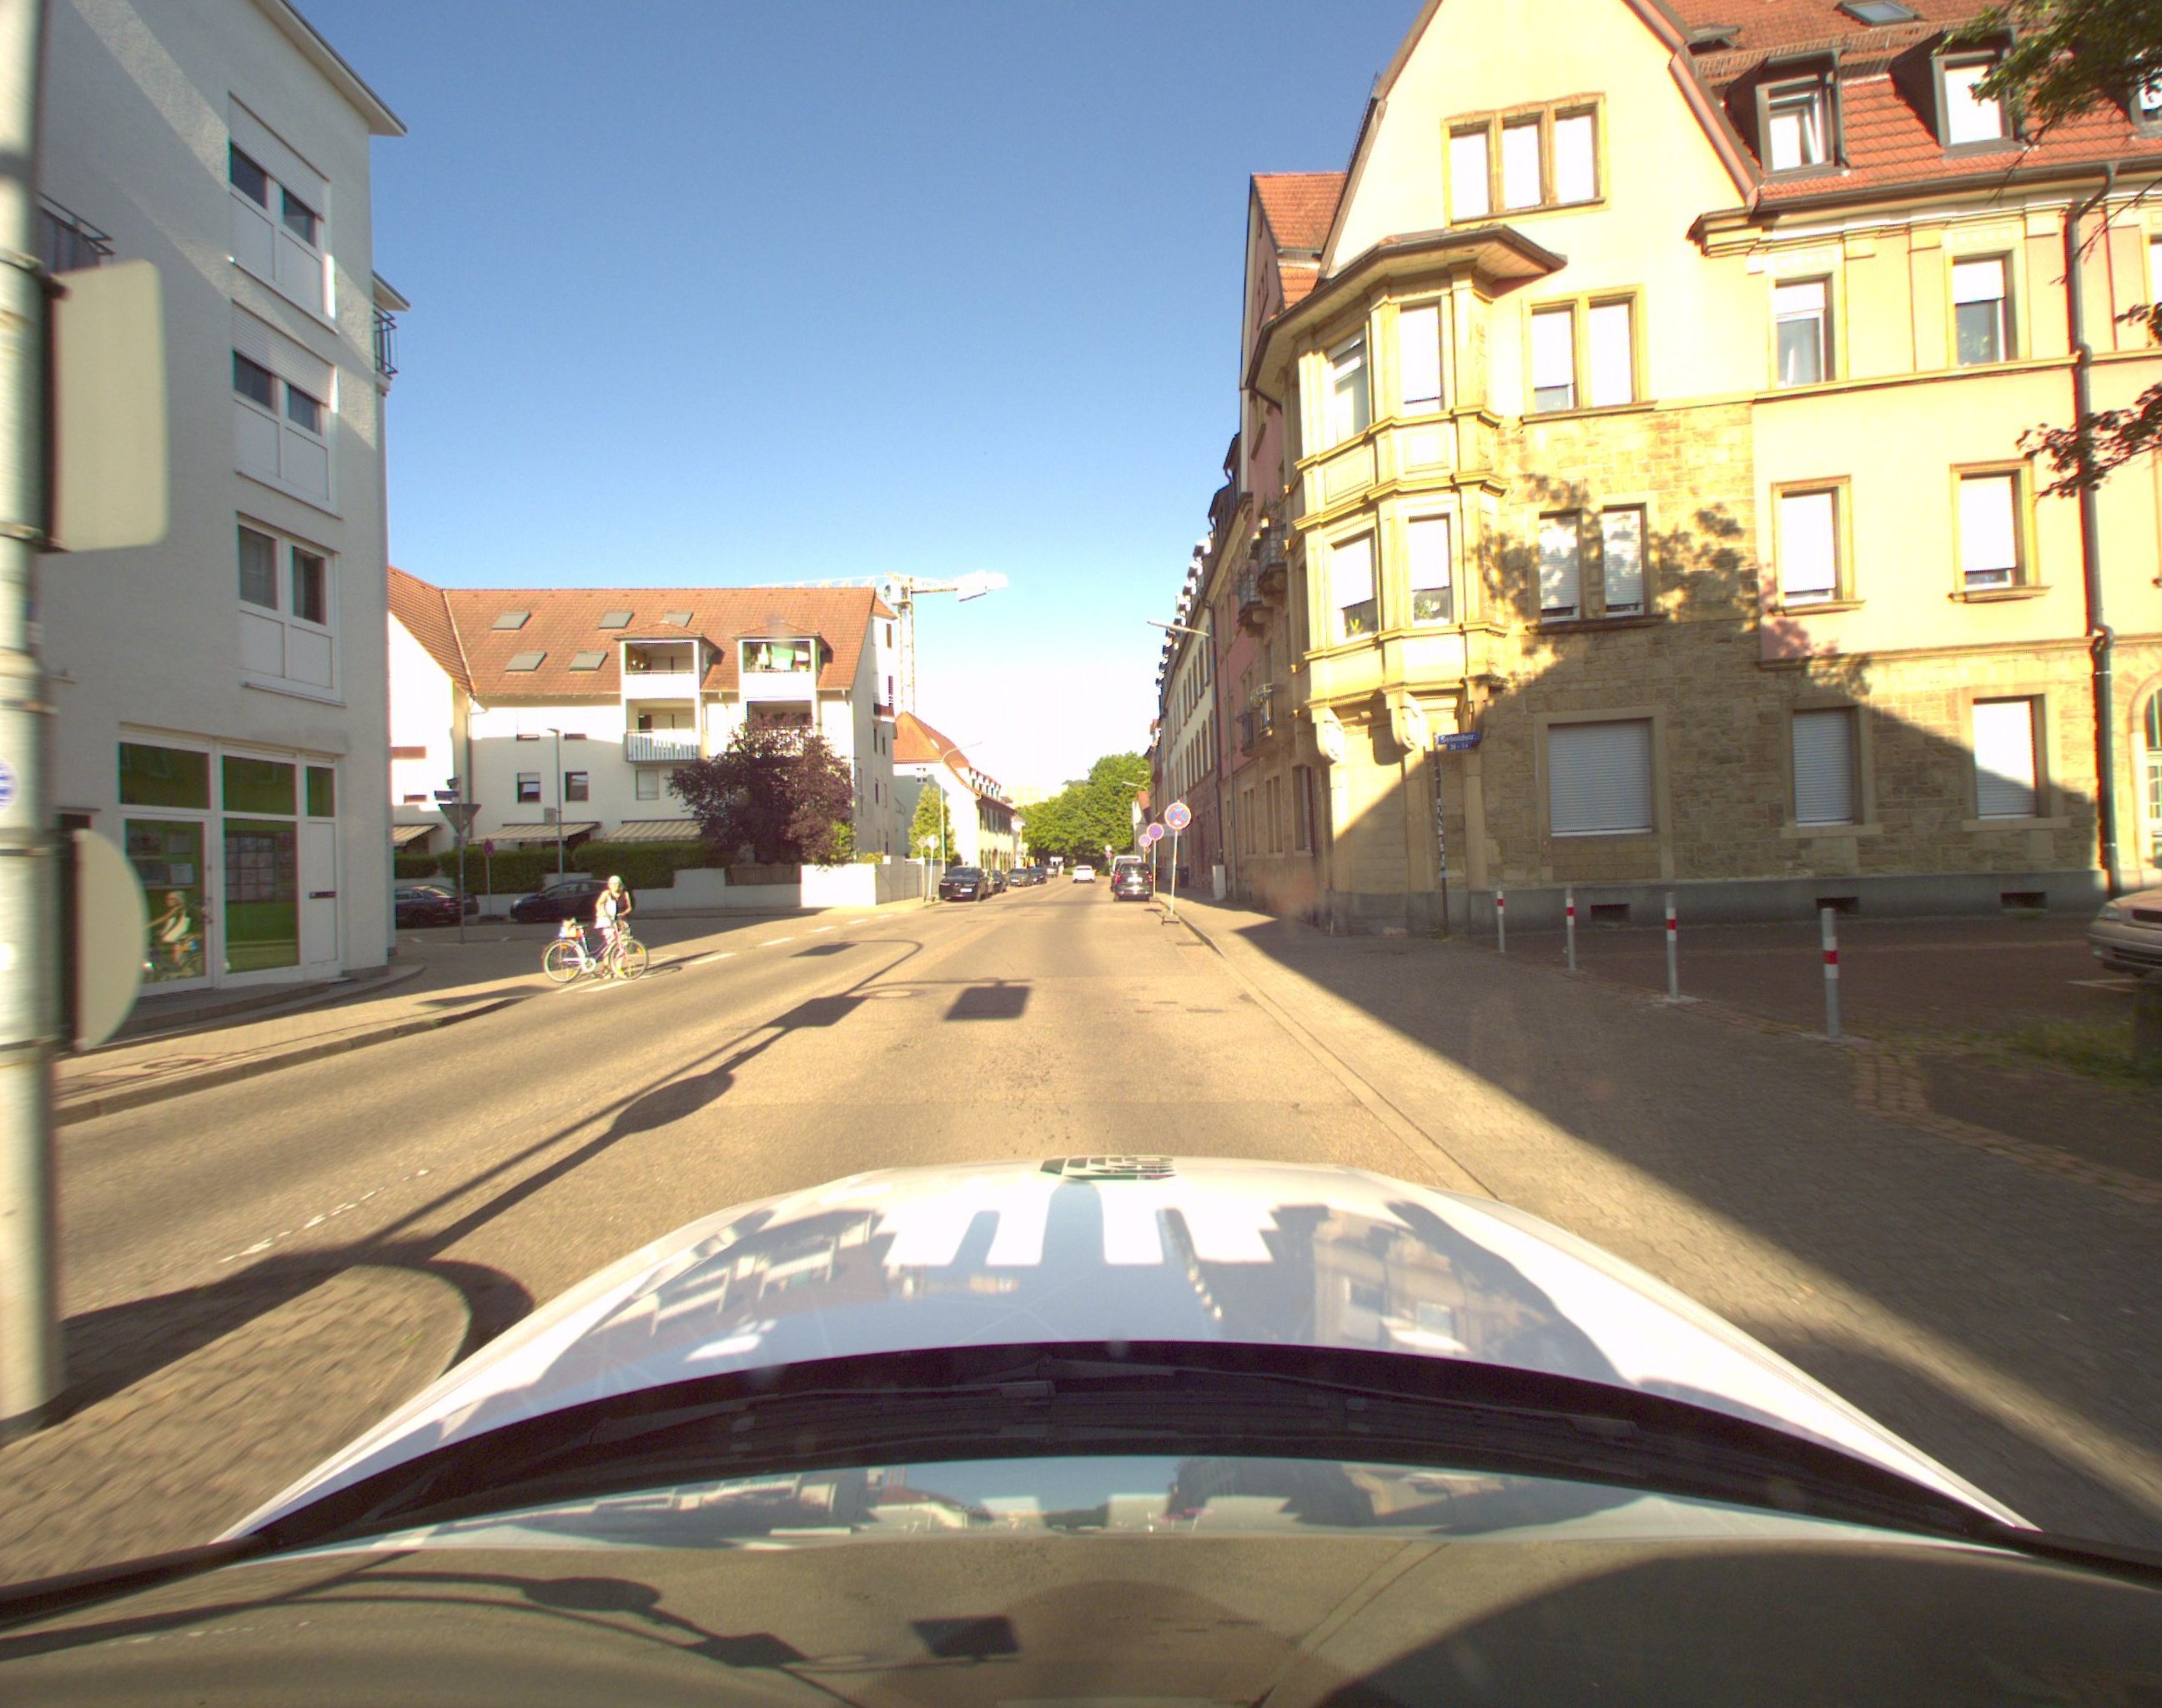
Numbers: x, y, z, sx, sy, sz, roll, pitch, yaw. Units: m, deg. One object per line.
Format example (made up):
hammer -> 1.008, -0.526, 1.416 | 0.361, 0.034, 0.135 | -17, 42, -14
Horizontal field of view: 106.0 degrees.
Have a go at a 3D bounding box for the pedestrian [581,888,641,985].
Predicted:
pedestrian -> -7.501, 1.300, 13.028 | 0.555, 1.472, 0.601 | -3, 0, -2

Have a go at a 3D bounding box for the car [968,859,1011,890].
car -> -5.573, 1.210, 50.101 | 2.086, 1.630, 3.822 | -3, 1, 0

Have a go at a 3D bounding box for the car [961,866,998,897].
car -> -5.472, 1.454, 44.275 | 1.548, 1.457, 3.061 | -3, 1, 0

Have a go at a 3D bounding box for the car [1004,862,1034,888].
car -> -4.884, 1.633, 64.546 | 1.904, 1.759, 4.128 | -3, 1, 0

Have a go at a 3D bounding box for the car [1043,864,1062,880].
car -> -3.857, 2.370, 110.547 | 1.993, 2.013, 3.988 | -3, 0, -9

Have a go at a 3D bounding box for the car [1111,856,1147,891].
car -> 2.622, 0.998, 44.088 | 1.810, 1.630, 4.005 | -3, 1, 4

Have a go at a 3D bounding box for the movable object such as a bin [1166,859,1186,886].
movable object such as a bin -> 5.068, 0.981, 43.435 | 0.868, 1.377, 0.685 | -4, 1, -1

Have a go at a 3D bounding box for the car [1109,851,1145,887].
car -> 2.725, 0.868, 49.010 | 1.835, 1.905, 4.000 | -3, 1, 0

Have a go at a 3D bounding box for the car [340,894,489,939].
car -> -23.210, 2.147, 28.456 | 3.666, 1.181, 1.675 | -3, 1, -3

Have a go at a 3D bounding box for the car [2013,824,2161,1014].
car -> 10.399, 0.399, 6.253 | 3.931, 1.420, 1.907 | -4, 1, 9

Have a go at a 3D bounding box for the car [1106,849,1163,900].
car -> 2.084, 0.777, 32.676 | 2.004, 1.853, 4.000 | -1, 1, 0

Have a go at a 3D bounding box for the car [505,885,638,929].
car -> -17.850, 1.846, 28.629 | 3.532, 1.181, 1.615 | -3, 1, -3

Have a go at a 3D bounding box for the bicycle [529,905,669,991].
bicycle -> -7.497, 1.452, 12.707 | 1.780, 1.184, 0.599 | -3, 0, 1

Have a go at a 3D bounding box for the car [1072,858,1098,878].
car -> 0.327, 1.131, 66.603 | 1.988, 1.466, 3.998 | -2, 0, -1
